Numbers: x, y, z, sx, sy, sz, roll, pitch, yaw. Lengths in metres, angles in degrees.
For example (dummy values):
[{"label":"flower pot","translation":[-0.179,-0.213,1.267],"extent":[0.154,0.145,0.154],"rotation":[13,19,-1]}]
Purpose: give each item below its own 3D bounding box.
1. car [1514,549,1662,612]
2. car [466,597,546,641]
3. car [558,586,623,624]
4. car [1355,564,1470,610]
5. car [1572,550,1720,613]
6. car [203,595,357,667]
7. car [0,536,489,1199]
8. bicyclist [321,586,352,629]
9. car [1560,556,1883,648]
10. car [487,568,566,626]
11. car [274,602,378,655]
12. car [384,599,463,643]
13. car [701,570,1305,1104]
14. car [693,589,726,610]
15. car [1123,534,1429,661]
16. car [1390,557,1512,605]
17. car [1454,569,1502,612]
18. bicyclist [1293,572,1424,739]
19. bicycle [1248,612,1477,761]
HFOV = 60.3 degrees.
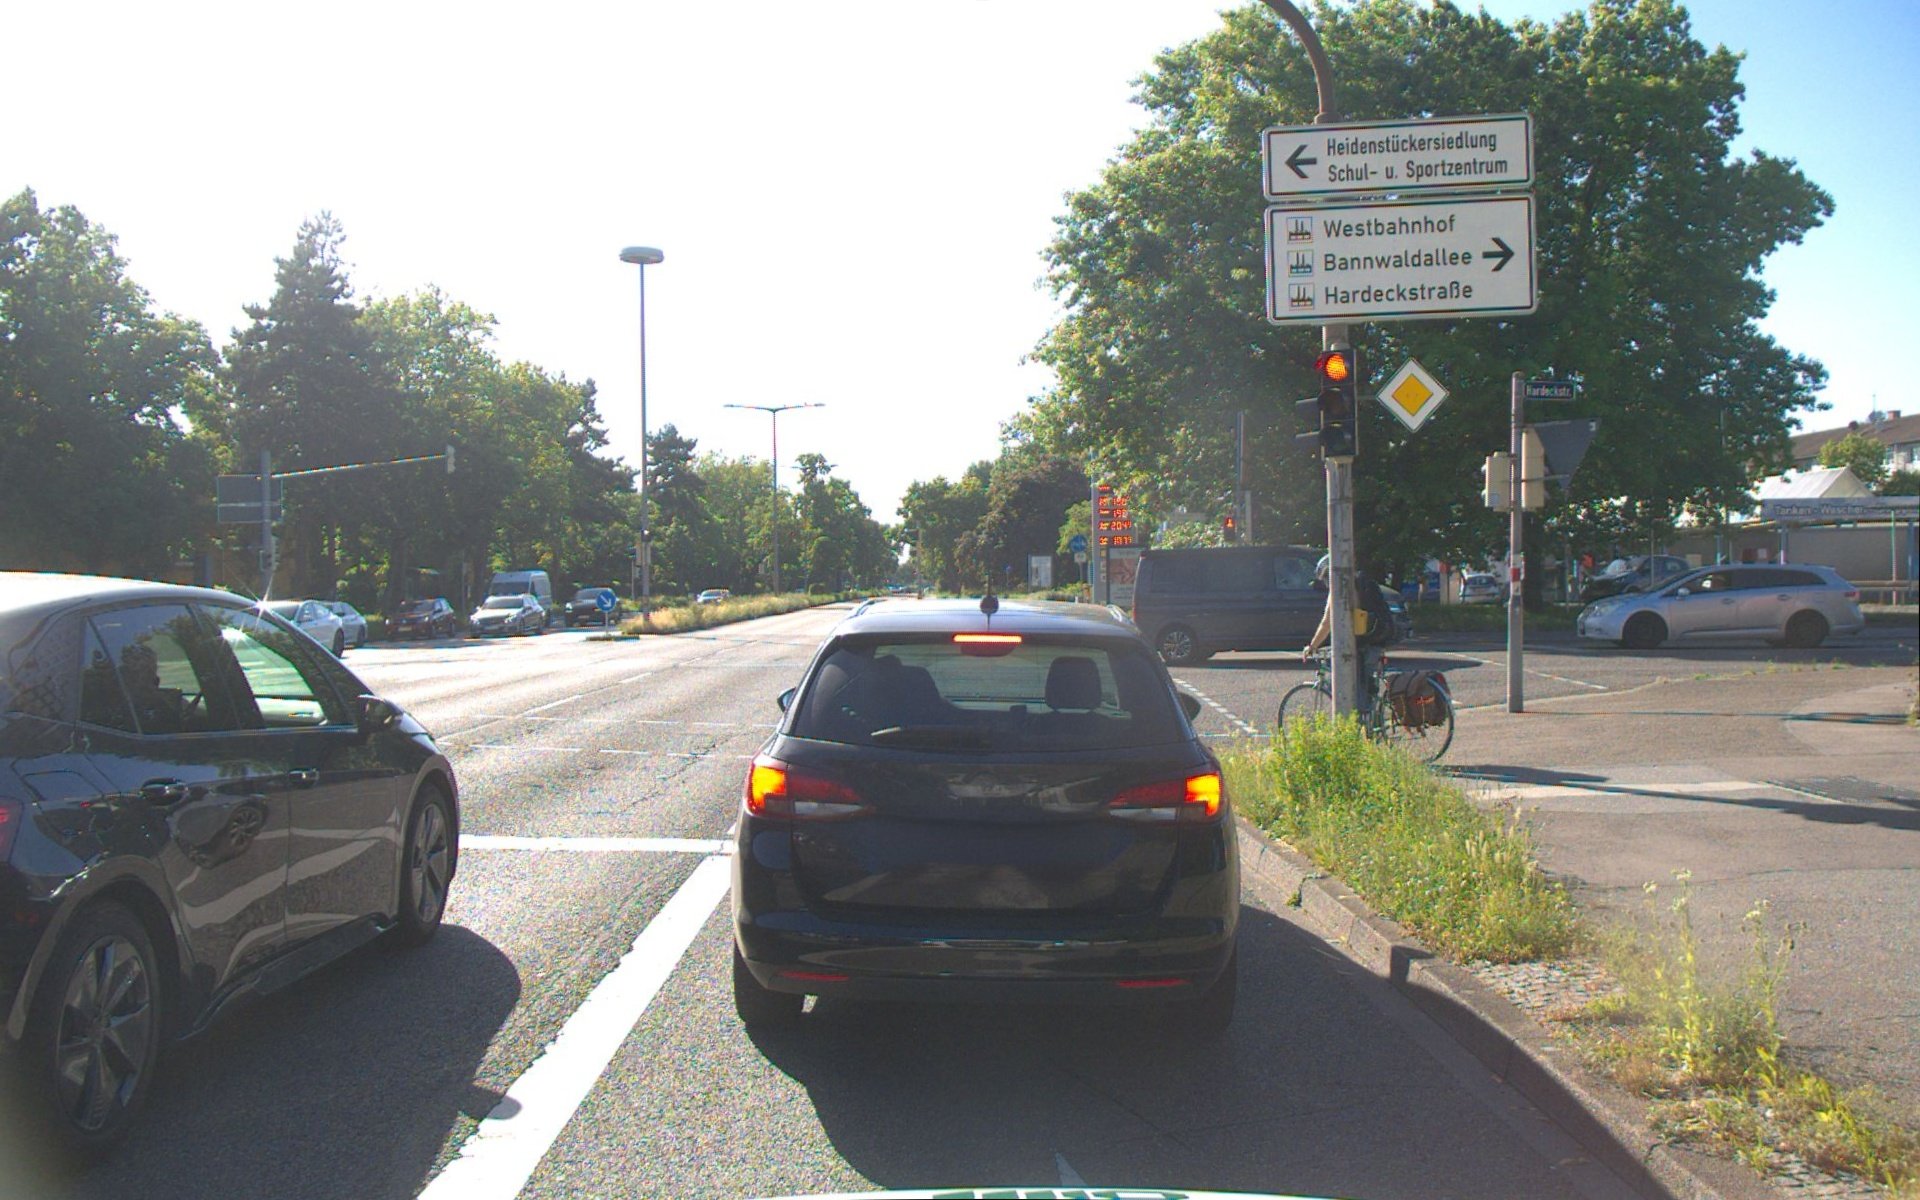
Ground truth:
[{"label":"car","translation":[18.999,-0.582,50.029],"extent":[3.935,1.780,1.985],"rotation":[-2,1,-24]},{"label":"car","translation":[-16.391,0.671,59.867],"extent":[1.652,1.458,4.614],"rotation":[-1,0,-1]},{"label":"car","translation":[-16.748,0.206,75.242],"extent":[1.953,1.629,4.615],"rotation":[-1,0,-1]},{"label":"car","translation":[16.432,-0.467,60.060],"extent":[3.837,1.544,1.732],"rotation":[-2,0,-24]},{"label":"car","translation":[19.988,-0.537,48.196],"extent":[3.934,1.709,1.732],"rotation":[-2,0,-24]},{"label":"car","translation":[-16.096,0.679,39.413],"extent":[1.850,1.551,4.503],"rotation":[-1,0,-1]},{"label":"car","translation":[-3.002,0.659,5.606],"extent":[1.650,1.608,4.206],"rotation":[0,0,-1]},{"label":"bicyclist","translation":[-25.072,0.309,66.505],"extent":[0.859,1.677,1.198],"rotation":[-2,0,-6]},{"label":"car","translation":[13.537,0.028,29.703],"extent":[4.897,1.512,2.002],"rotation":[-1,0,11]},{"label":"car","translation":[-19.898,-0.144,76.220],"extent":[2.057,2.536,6.003],"rotation":[-1,0,-1]},{"label":"car","translation":[-19.414,0.856,50.825],"extent":[1.607,1.481,4.221],"rotation":[-1,0,-1]},{"label":"car","translation":[-19.970,0.749,61.744],"extent":[1.652,1.535,4.003],"rotation":[-1,0,-1]},{"label":"car","translation":[0.099,0.684,6.838],"extent":[1.721,1.521,4.206],"rotation":[0,0,-1]},{"label":"car","translation":[-17.808,-0.049,117.638],"extent":[1.740,1.488,4.164],"rotation":[-1,0,-1]},{"label":"car","translation":[5.467,-0.023,28.682],"extent":[4.897,2.027,1.917],"rotation":[-1,0,23]},{"label":"car","translation":[16.909,-0.654,56.985],"extent":[3.837,1.544,1.732],"rotation":[-2,0,-24]},{"label":"car","translation":[21.919,-0.411,70.088],"extent":[1.702,1.709,4.003],"rotation":[-1,0,14]},{"label":"bicyclist","translation":[3.216,0.449,13.373],"extent":[0.534,1.299,0.816],"rotation":[-2,-2,-44]},{"label":"bicycle","translation":[3.223,0.700,13.371],"extent":[0.533,1.117,1.748],"rotation":[-2,-2,-44]}]
